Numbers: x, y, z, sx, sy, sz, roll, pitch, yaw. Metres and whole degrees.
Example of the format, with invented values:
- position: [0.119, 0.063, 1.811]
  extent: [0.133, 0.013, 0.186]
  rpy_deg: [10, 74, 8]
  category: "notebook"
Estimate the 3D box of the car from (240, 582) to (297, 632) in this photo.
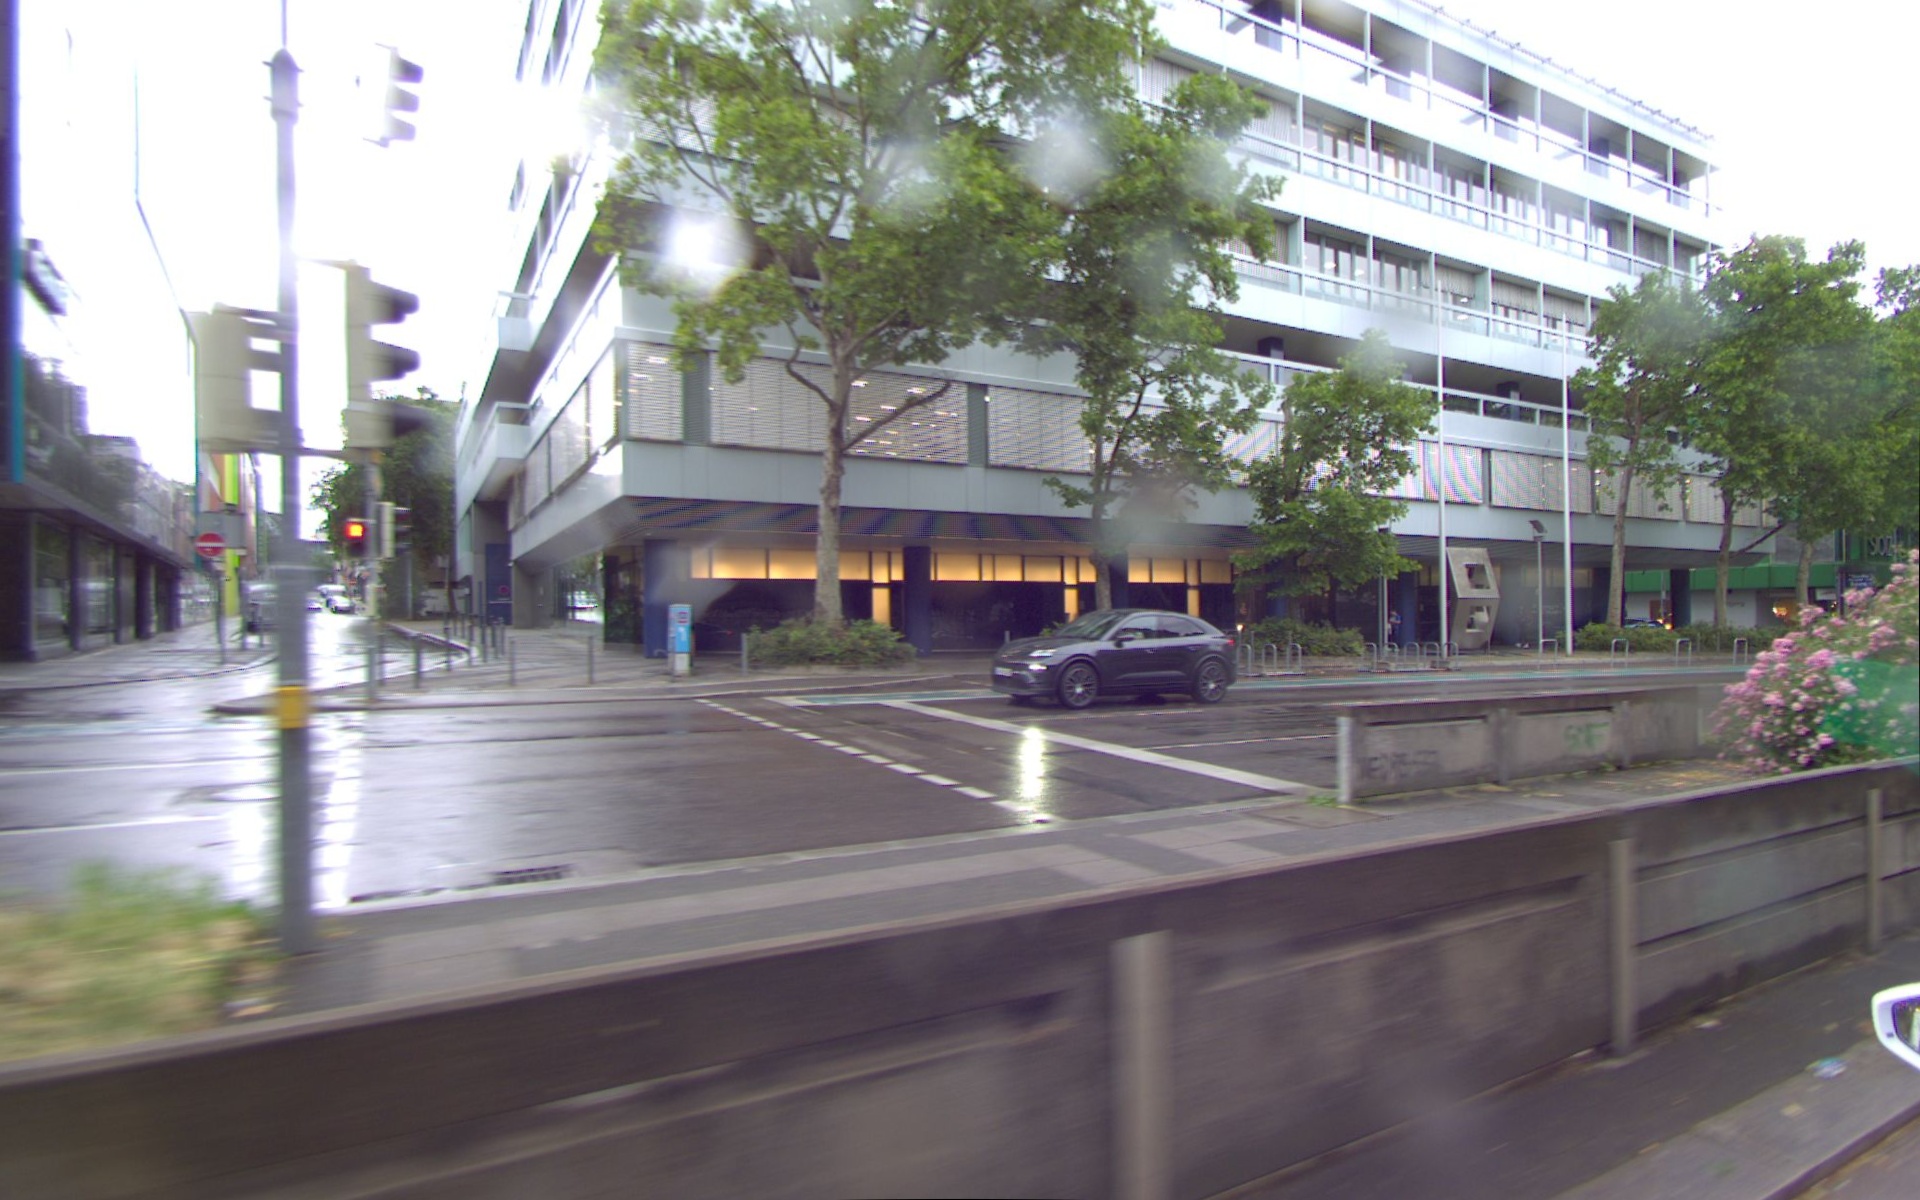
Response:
- position: [-34.883, 0.292, 50.799]
  extent: [2.227, 2.354, 6.701]
  rpy_deg: [2, 0, -34]
  category: "car"

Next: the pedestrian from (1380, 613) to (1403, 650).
- position: [16.577, 1.212, 38.589]
  extent: [0.469, 1.398, 0.634]
  rpy_deg: [1, 0, -33]
  category: "pedestrian"

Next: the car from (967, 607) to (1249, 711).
- position: [2.643, 1.001, 17.712]
  extent: [4.685, 1.605, 1.902]
  rpy_deg: [2, 0, -27]
  category: "car"

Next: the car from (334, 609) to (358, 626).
- position: [-60.232, 1.693, 98.491]
  extent: [1.978, 1.528, 3.964]
  rpy_deg: [2, 0, -32]
  category: "car"

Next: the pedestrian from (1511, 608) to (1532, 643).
- position: [24.922, 1.127, 44.594]
  extent: [0.569, 1.502, 0.606]
  rpy_deg: [1, 0, -33]
  category: "pedestrian"

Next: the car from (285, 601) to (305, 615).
- position: [-83.958, 1.001, 126.781]
  extent: [1.978, 1.528, 3.964]
  rpy_deg: [2, 0, -32]
  category: "car"

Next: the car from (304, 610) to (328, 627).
- position: [-64.452, 1.817, 100.607]
  extent: [1.978, 1.528, 3.964]
  rpy_deg: [2, 0, -32]
  category: "car"
